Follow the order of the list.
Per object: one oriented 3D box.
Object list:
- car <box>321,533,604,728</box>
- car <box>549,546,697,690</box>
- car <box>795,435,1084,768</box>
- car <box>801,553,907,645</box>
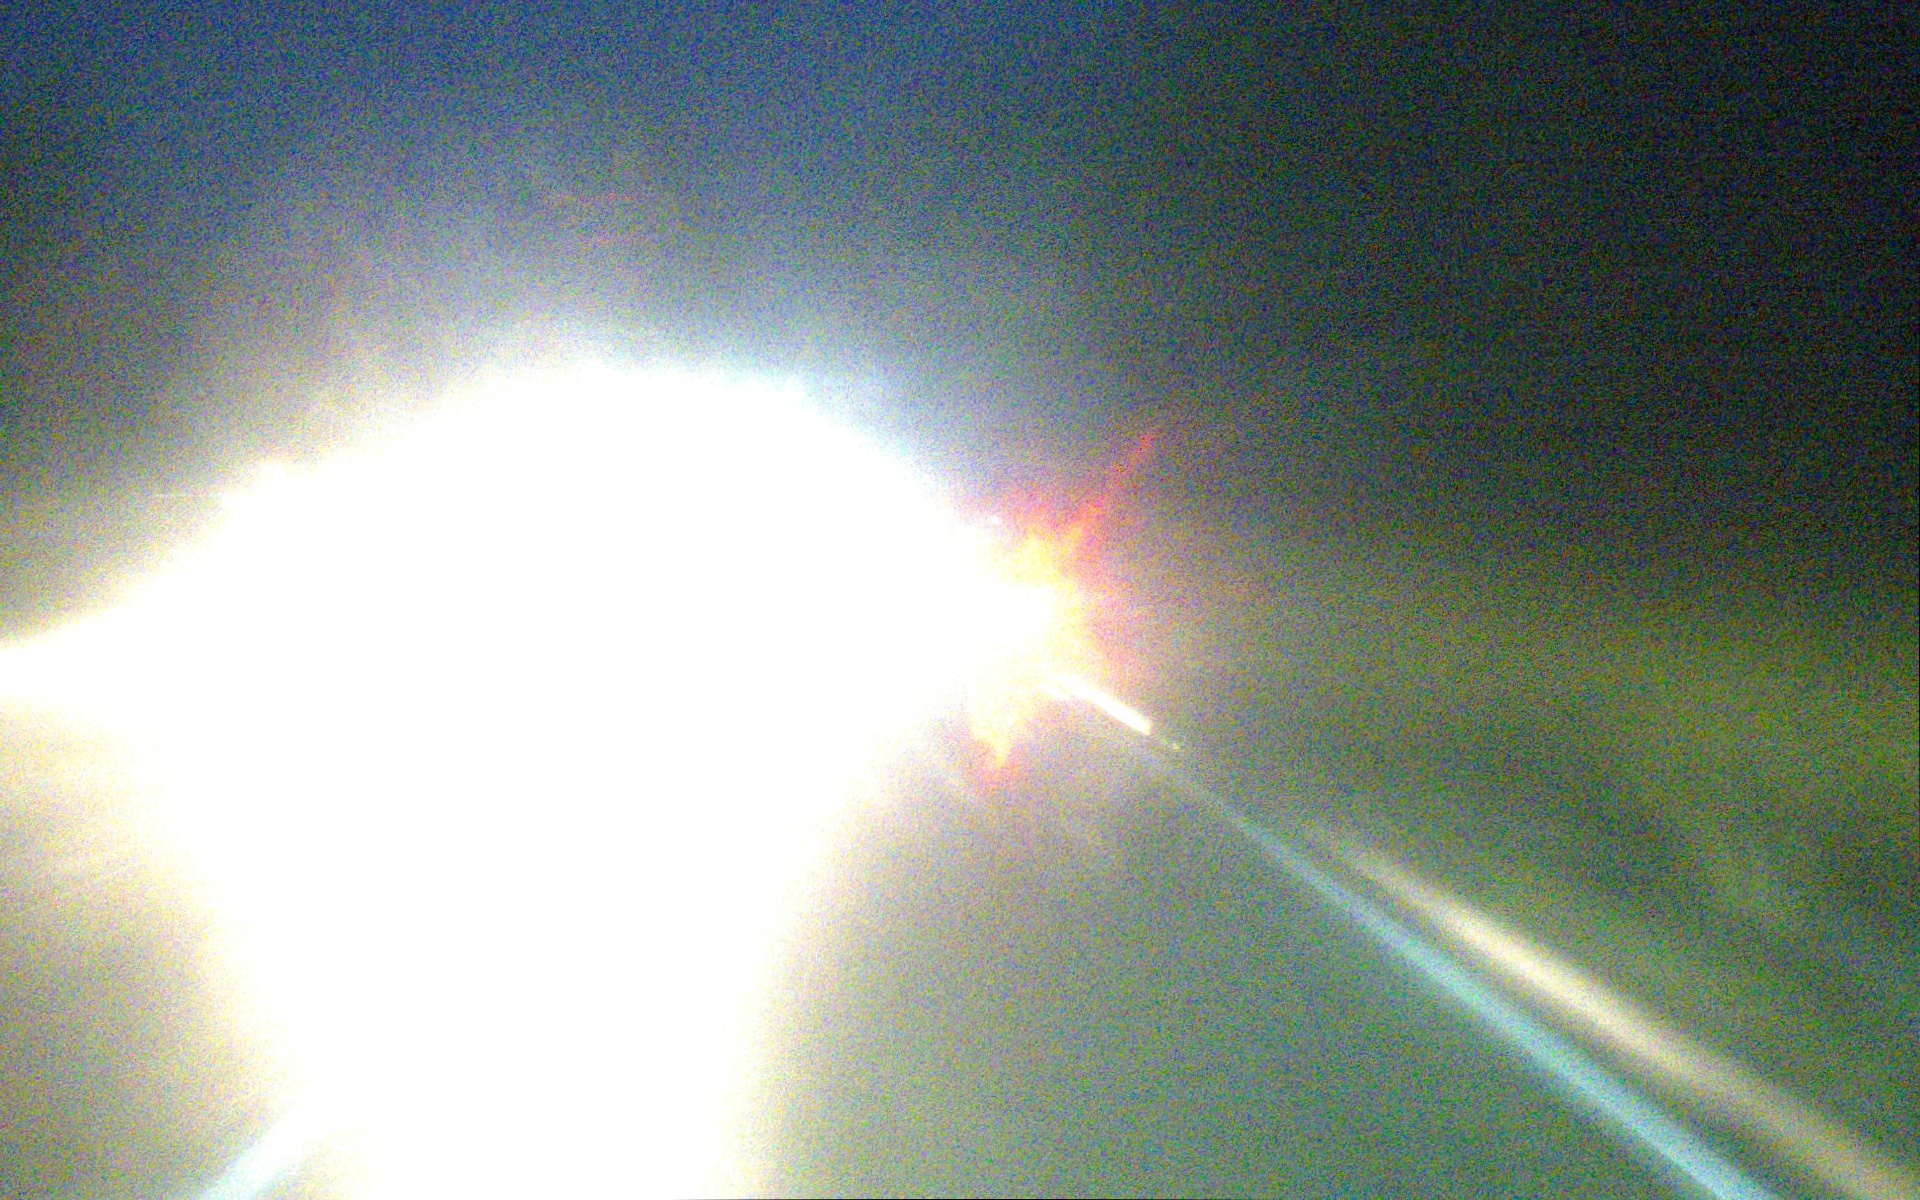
[{"bbox_3d":[-4.039,0.232,28.441,1.843,1.499,3.710,0,0,-1],"label":"car"},{"bbox_3d":[-4.804,0.220,49.408,1.836,1.837,4.001,-1,3,-2],"label":"car"},{"bbox_3d":[-0.173,-0.086,29.581,2.181,2.548,4.508,3,2,0],"label":"car"},{"bbox_3d":[-1.776,-0.022,58.574,1.707,1.499,3.606,0,0,0],"label":"car"}]
